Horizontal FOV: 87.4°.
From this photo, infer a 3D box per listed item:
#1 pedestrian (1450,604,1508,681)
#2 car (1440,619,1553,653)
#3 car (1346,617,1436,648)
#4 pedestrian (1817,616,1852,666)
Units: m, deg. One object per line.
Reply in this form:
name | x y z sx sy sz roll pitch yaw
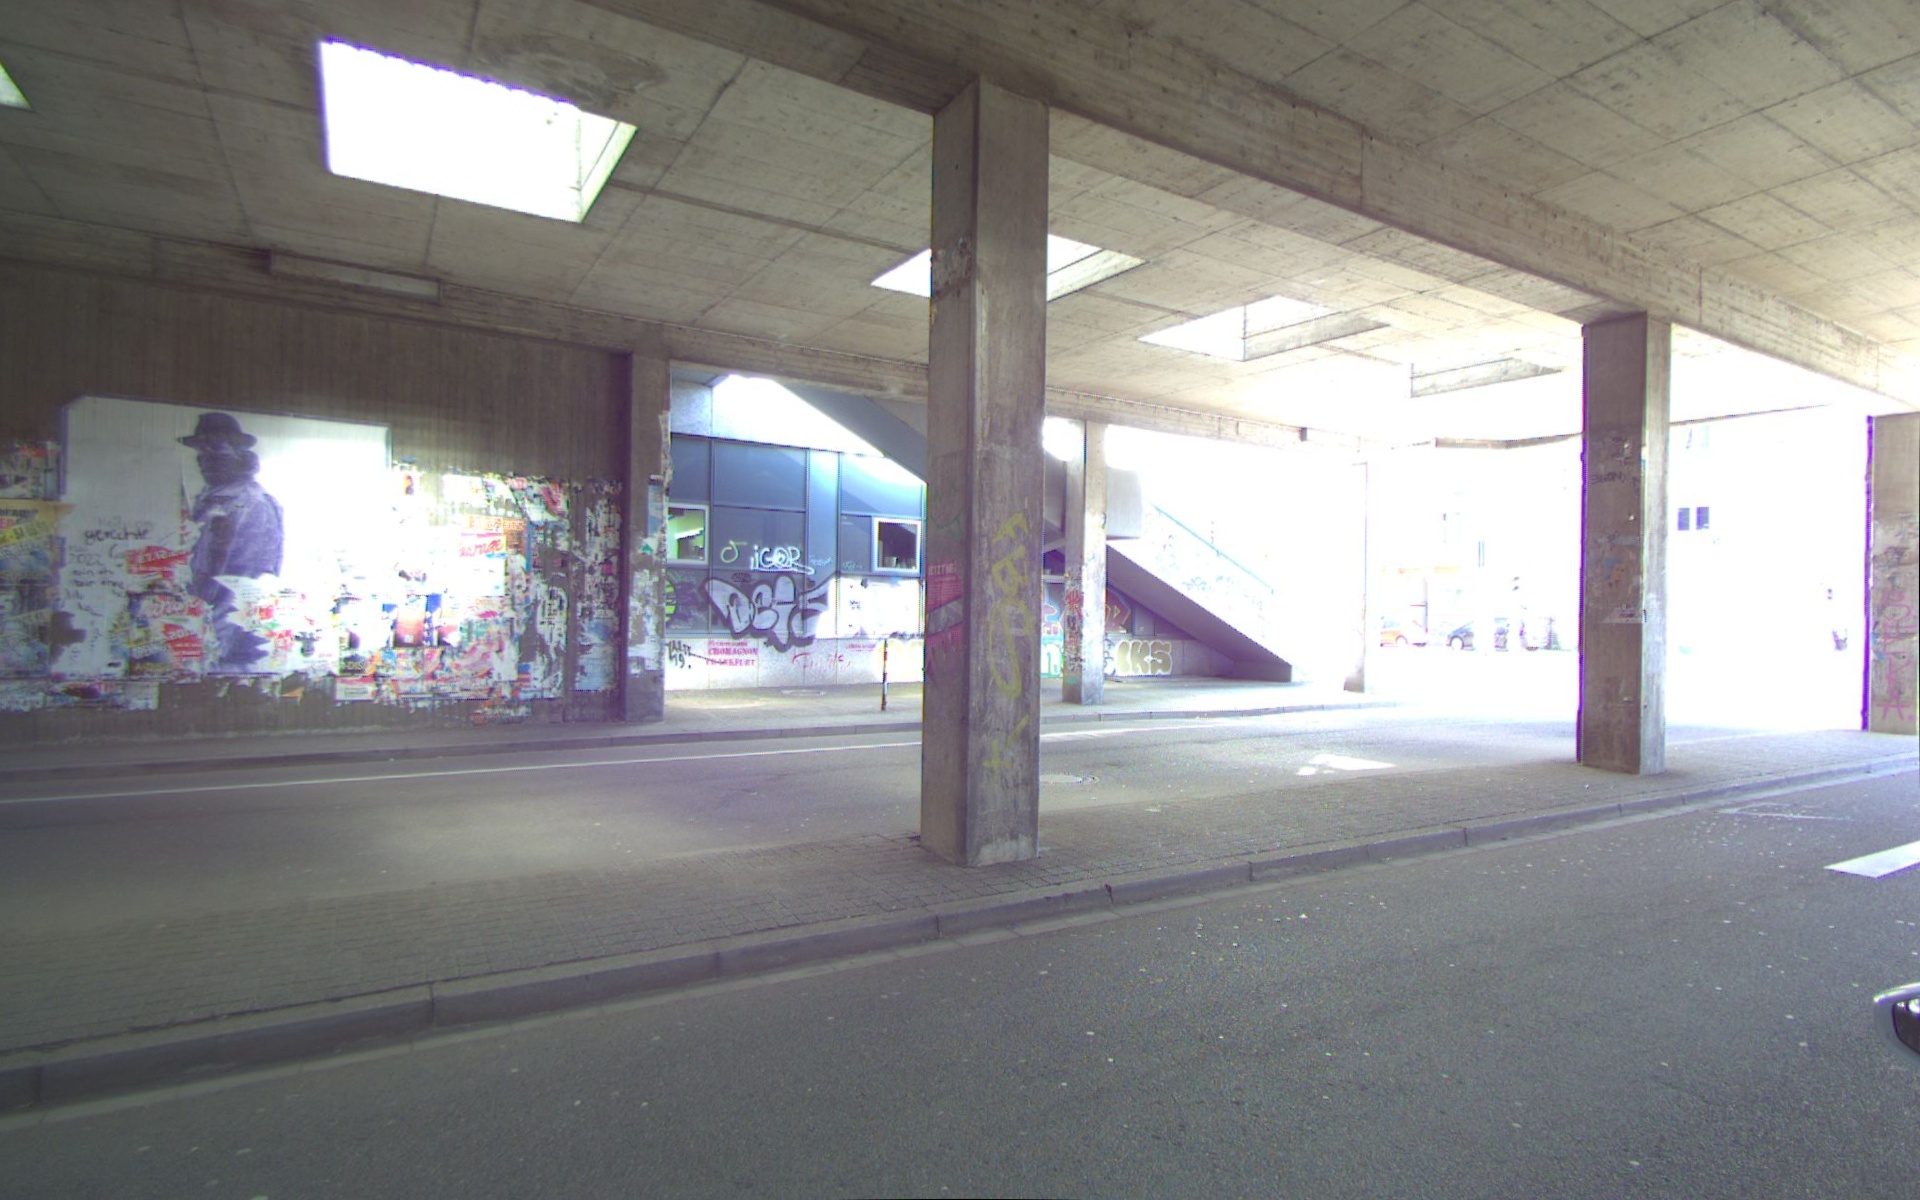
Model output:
pedestrian | 12.485 1.014 24.162 0.784 1.785 0.925 2 0 -28
car | 25.432 1.682 47.776 1.905 1.428 4.382 2 0 -32
car | 22.540 1.674 52.693 1.905 1.428 3.965 2 0 -32
pedestrian | 29.822 1.393 34.246 0.732 1.659 0.669 2 0 -30
